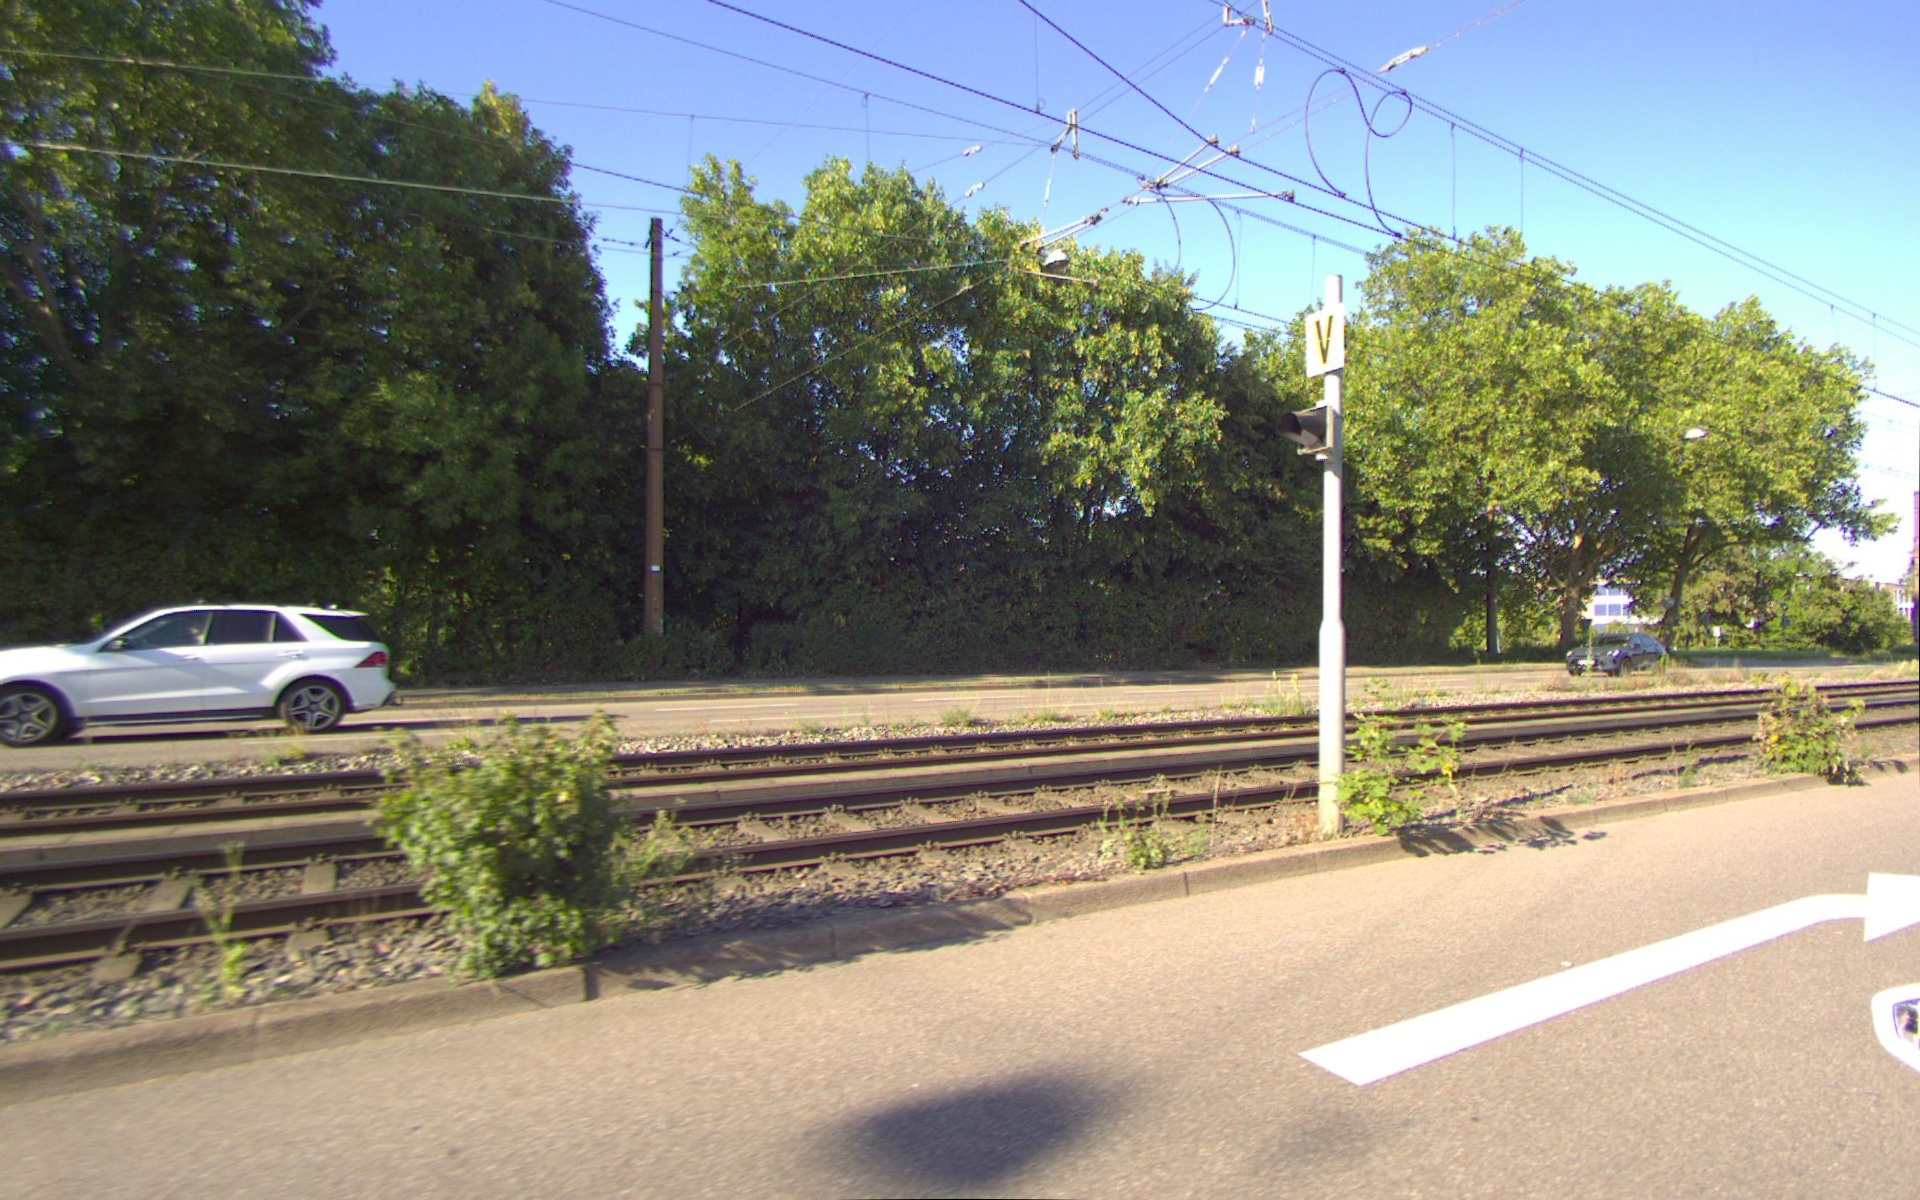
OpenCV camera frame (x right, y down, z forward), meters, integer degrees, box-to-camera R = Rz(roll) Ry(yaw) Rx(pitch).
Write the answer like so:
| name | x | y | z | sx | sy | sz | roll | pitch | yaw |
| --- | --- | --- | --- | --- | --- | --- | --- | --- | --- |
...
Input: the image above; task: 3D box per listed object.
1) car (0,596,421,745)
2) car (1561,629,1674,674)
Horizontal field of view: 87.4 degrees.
| name | x | y | z | sx | sy | sz | roll | pitch | yaw |
| --- | --- | --- | --- | --- | --- | --- | --- | --- | --- |
| car | -10.118 | 0.912 | 13.510 | 4.892 | 1.729 | 1.951 | 2 | -4 | -34 |
| car | 23.192 | 1.816 | 35.376 | 4.301 | 1.487 | 1.701 | 1 | -4 | -33 |
